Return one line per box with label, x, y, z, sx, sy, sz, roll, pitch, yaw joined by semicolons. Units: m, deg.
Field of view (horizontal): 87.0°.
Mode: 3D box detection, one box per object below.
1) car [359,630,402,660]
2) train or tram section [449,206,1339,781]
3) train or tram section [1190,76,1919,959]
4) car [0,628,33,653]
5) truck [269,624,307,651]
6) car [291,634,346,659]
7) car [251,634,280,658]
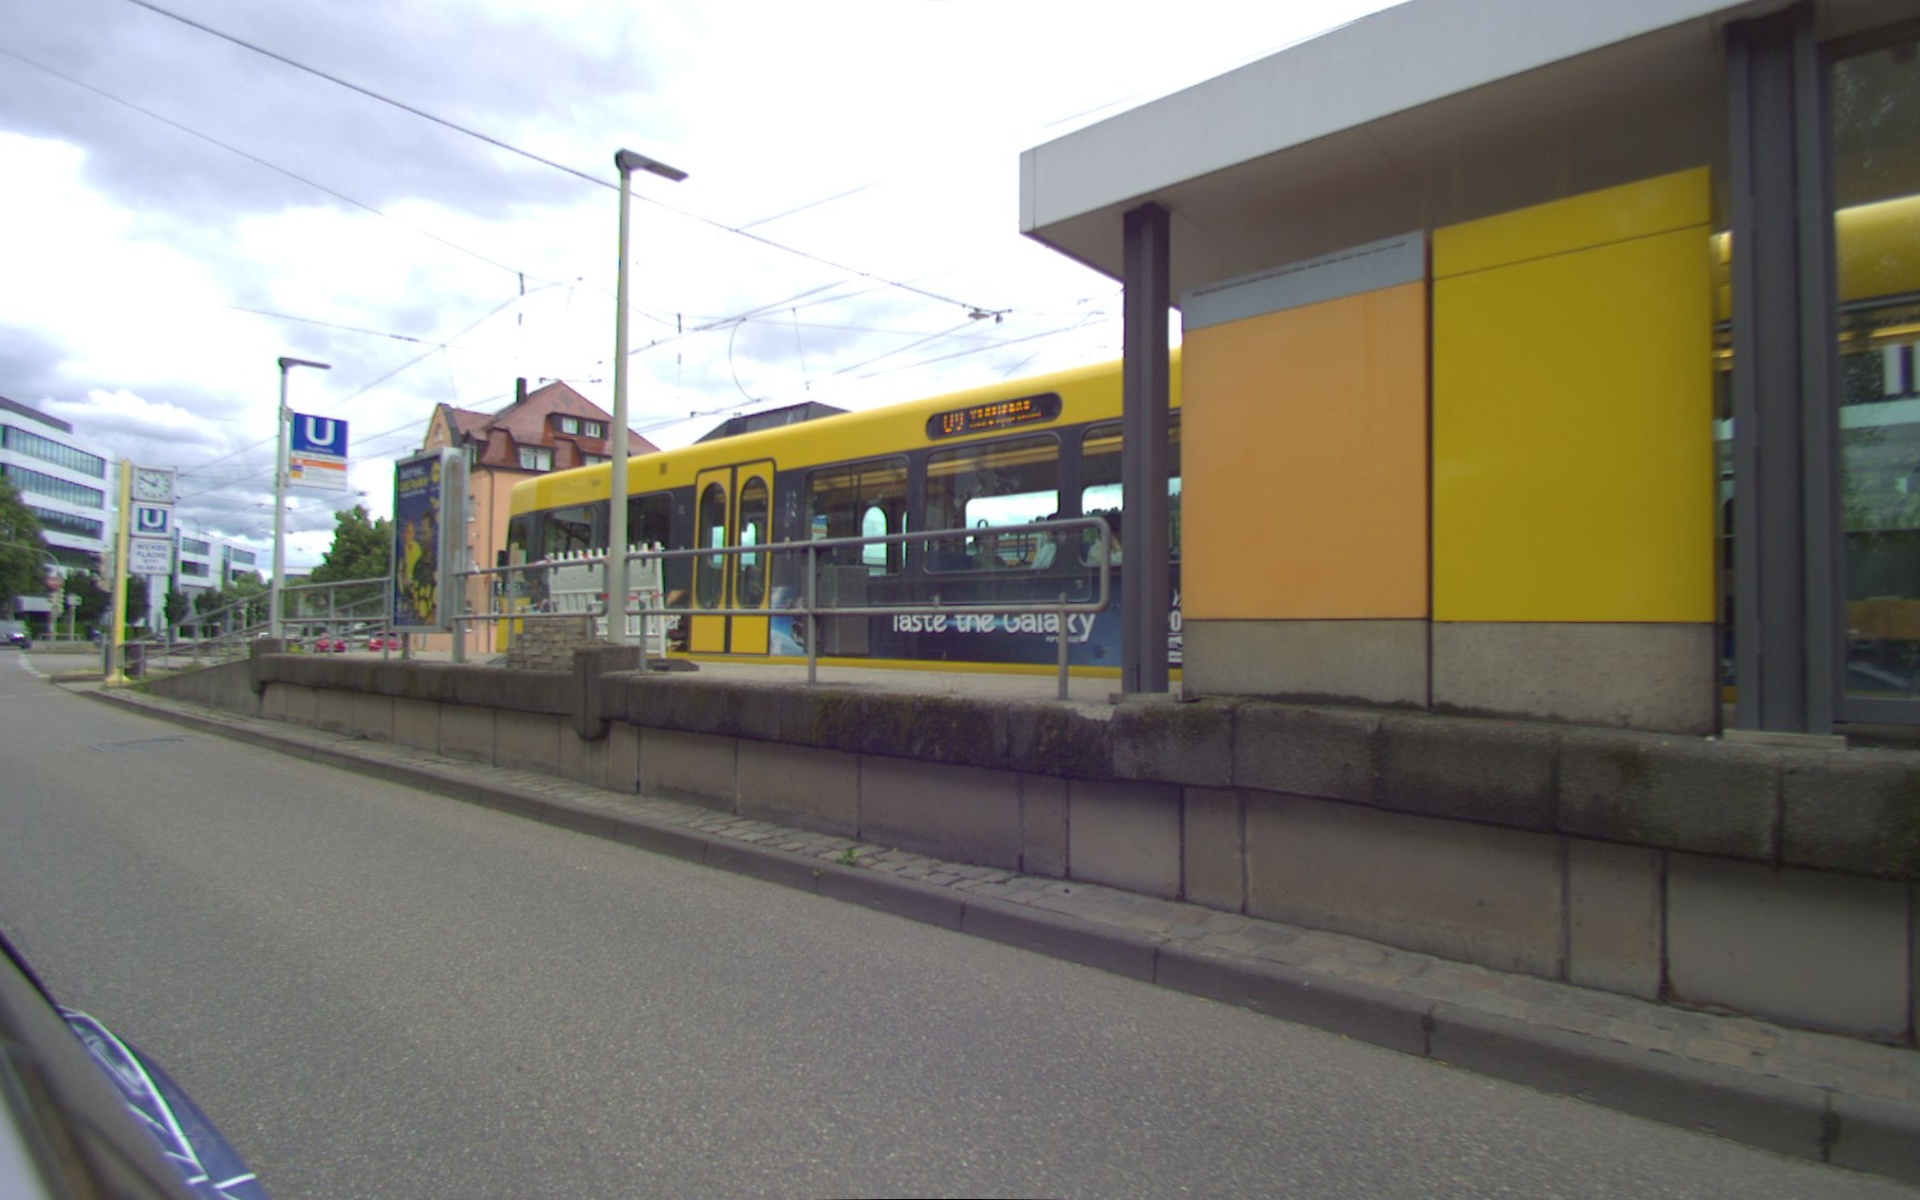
car;-31.286;2.418;54.698;1.737;1.541;3.752;2;-2;-27
train or tram section;-2.042;-0.491;11.906;11.903;3.997;2.712;-3;-4;41
train or tram section;6.989;-0.444;4.083;11.903;3.997;2.712;-3;-4;41
car;-53.968;2.297;57.269;1.601;1.342;3.183;1;-2;-32
truck;-64.011;3.588;96.474;2.281;2.440;5.672;3;-3;-27
car;-46.025;3.298;72.564;3.984;1.536;1.686;2;1;30
car;-58.818;3.897;85.687;1.574;1.430;3.379;-8;-5;-41
